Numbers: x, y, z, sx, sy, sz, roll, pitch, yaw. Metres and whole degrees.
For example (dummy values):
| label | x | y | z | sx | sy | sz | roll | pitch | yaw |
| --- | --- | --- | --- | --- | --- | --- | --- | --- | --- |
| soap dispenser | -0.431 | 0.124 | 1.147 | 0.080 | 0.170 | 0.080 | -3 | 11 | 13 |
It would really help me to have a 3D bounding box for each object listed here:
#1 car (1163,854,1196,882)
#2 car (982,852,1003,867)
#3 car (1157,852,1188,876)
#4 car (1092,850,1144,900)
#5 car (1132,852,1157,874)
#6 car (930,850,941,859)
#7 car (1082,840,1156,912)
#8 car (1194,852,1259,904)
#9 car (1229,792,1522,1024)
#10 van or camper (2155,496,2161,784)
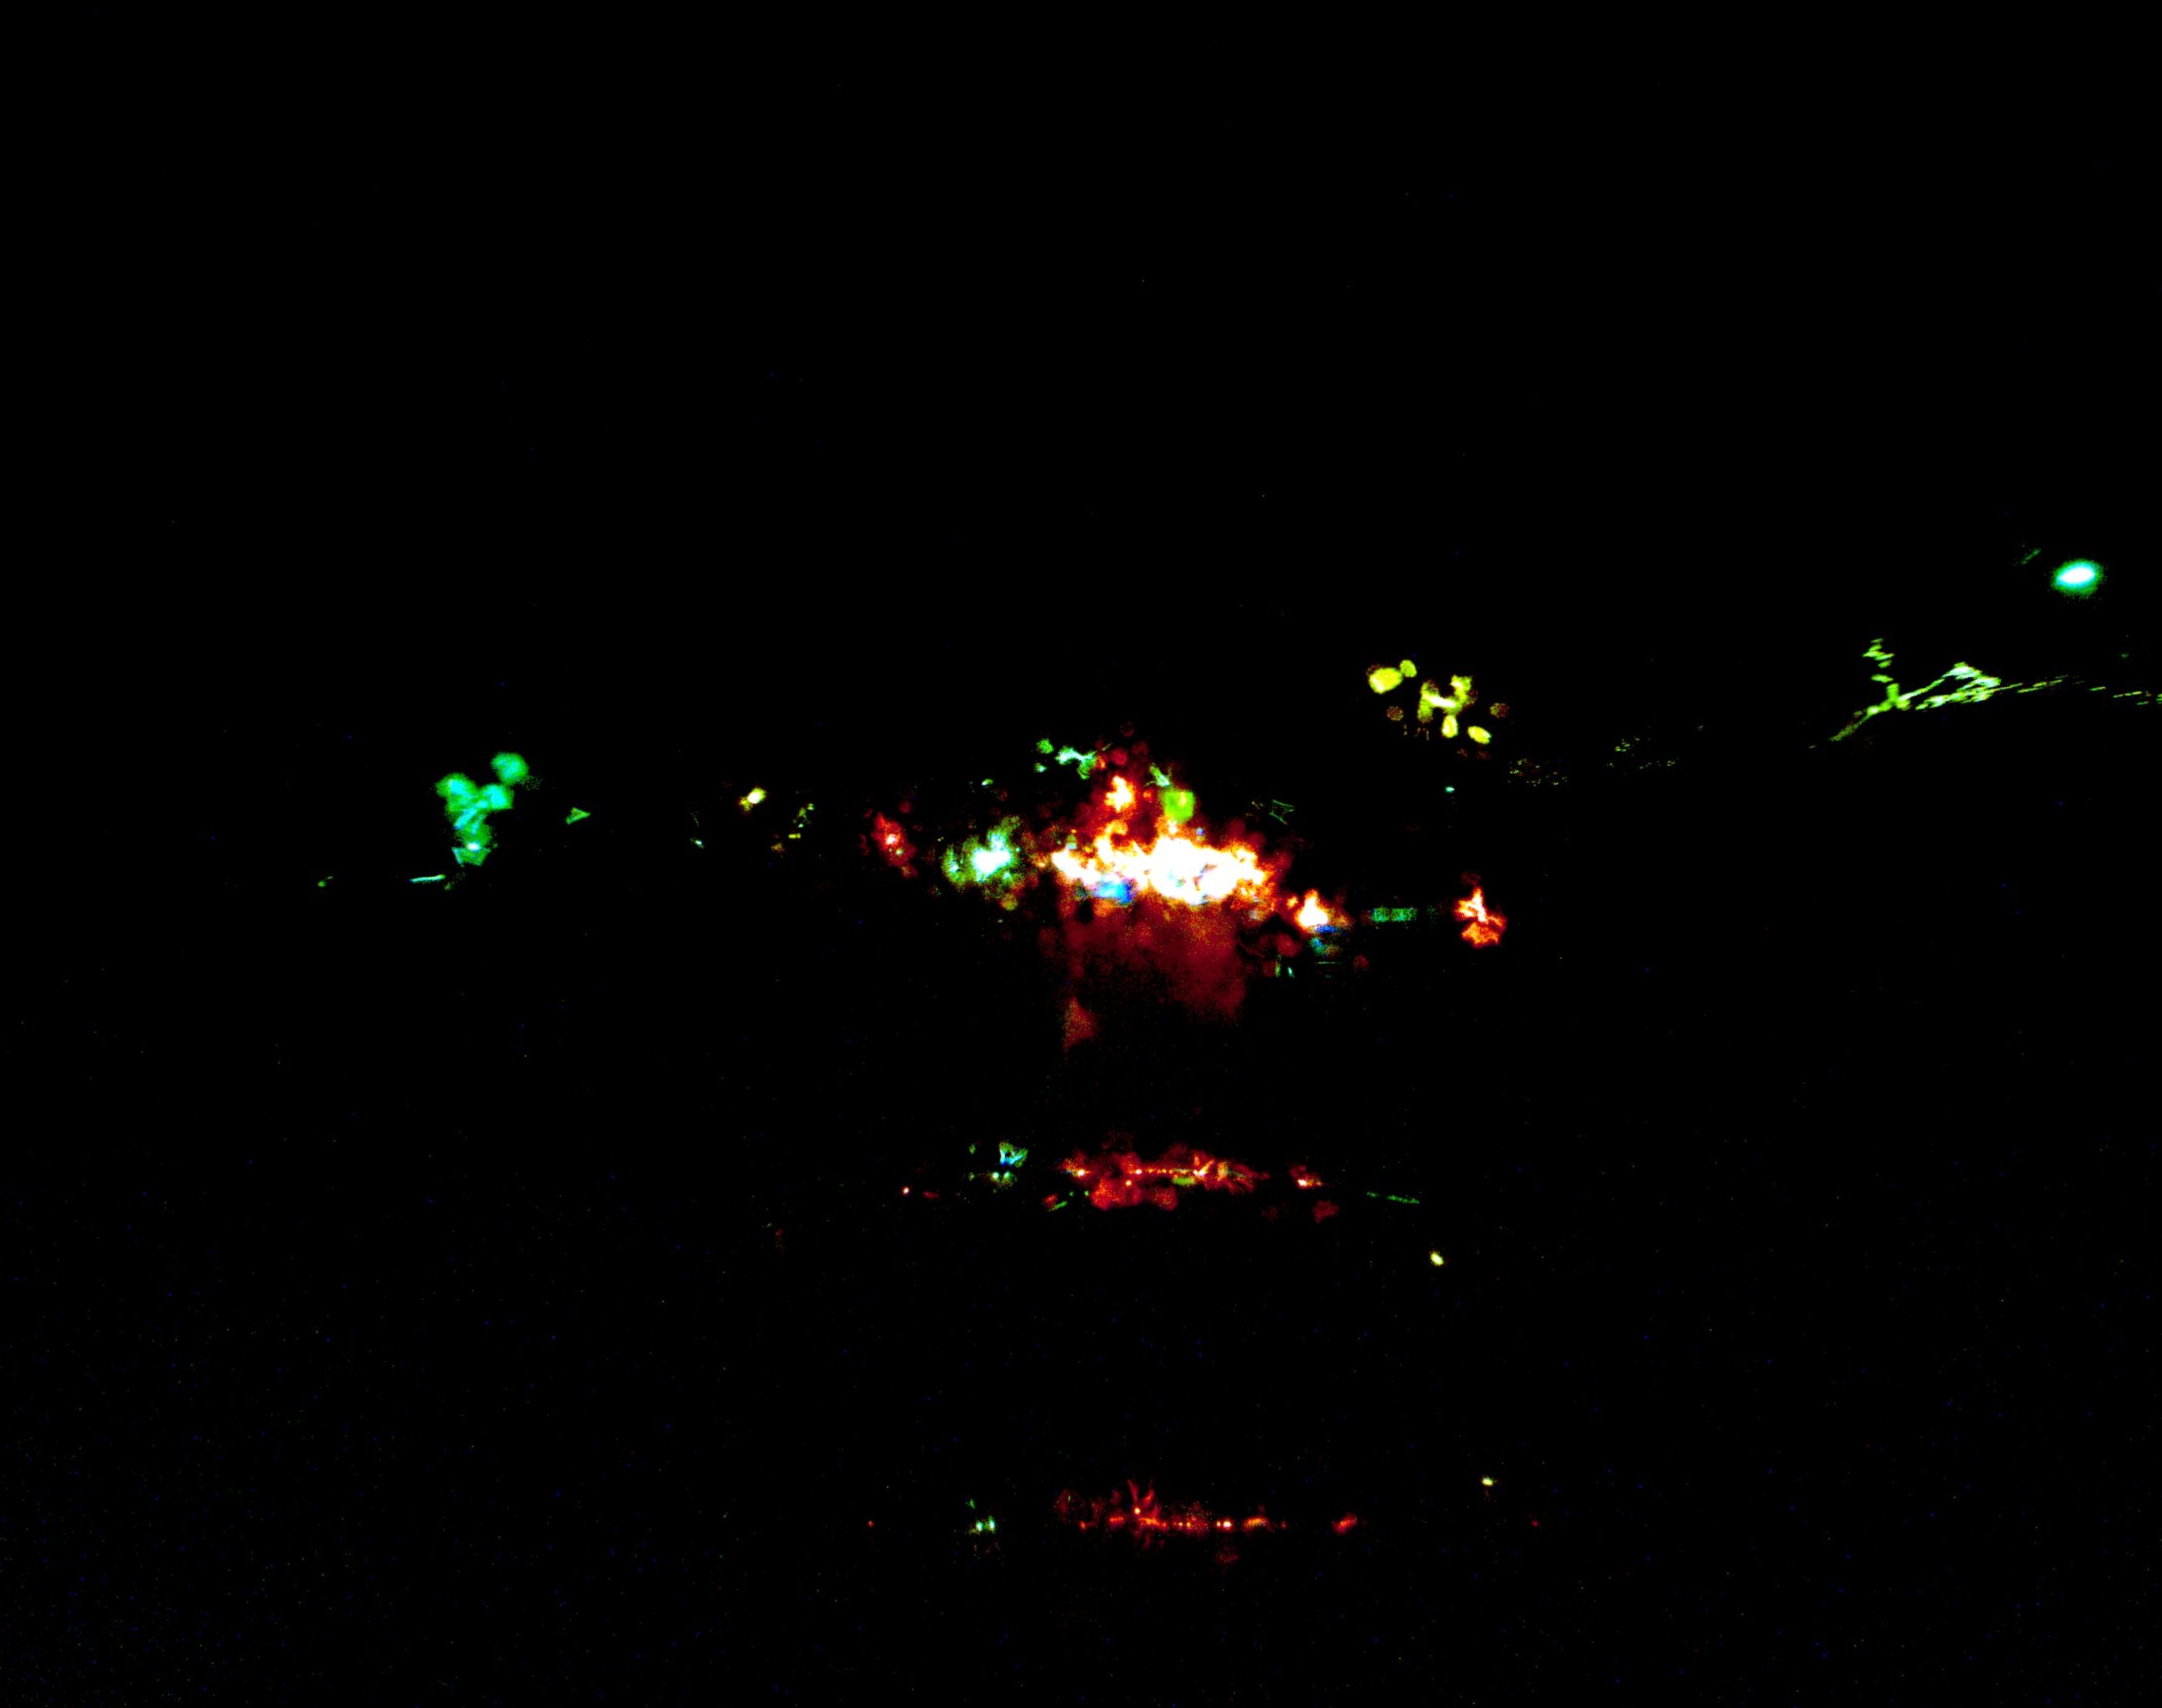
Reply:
| label | x | y | z | sx | sy | sz | roll | pitch | yaw |
| --- | --- | --- | --- | --- | --- | --- | --- | --- | --- |
| car | 5.266 | 0.729 | 44.029 | 1.655 | 1.450 | 4.056 | -1 | 0 | 5 |
| car | -11.821 | 0.716 | 108.363 | 1.997 | 1.912 | 4.718 | 0 | 0 | -15 |
| car | 5.667 | 0.588 | 50.805 | 1.657 | 1.450 | 4.052 | 0 | 0 | 2 |
| car | 1.383 | 0.698 | 29.371 | 1.701 | 1.638 | 3.734 | -2 | 0 | 4 |
| car | 4.419 | 0.626 | 57.487 | 1.656 | 1.450 | 4.053 | 0 | 0 | 3 |
| car | -31.071 | 0.022 | 174.198 | 1.992 | 1.912 | 4.730 | 0 | 0 | -8 |
| car | 0.990 | 0.512 | 20.651 | 1.687 | 1.630 | 3.856 | 0 | 0 | 3 |
| car | 4.463 | 0.670 | 25.412 | 1.759 | 1.450 | 4.226 | 0 | 1 | 7 |
| car | 2.899 | 0.444 | 9.069 | 1.934 | 1.972 | 4.221 | 0 | 0 | 3 |
| van or camper | 13.031 | -2.185 | 5.606 | 2.586 | 2.908 | 6.324 | -1 | 0 | -16 |
